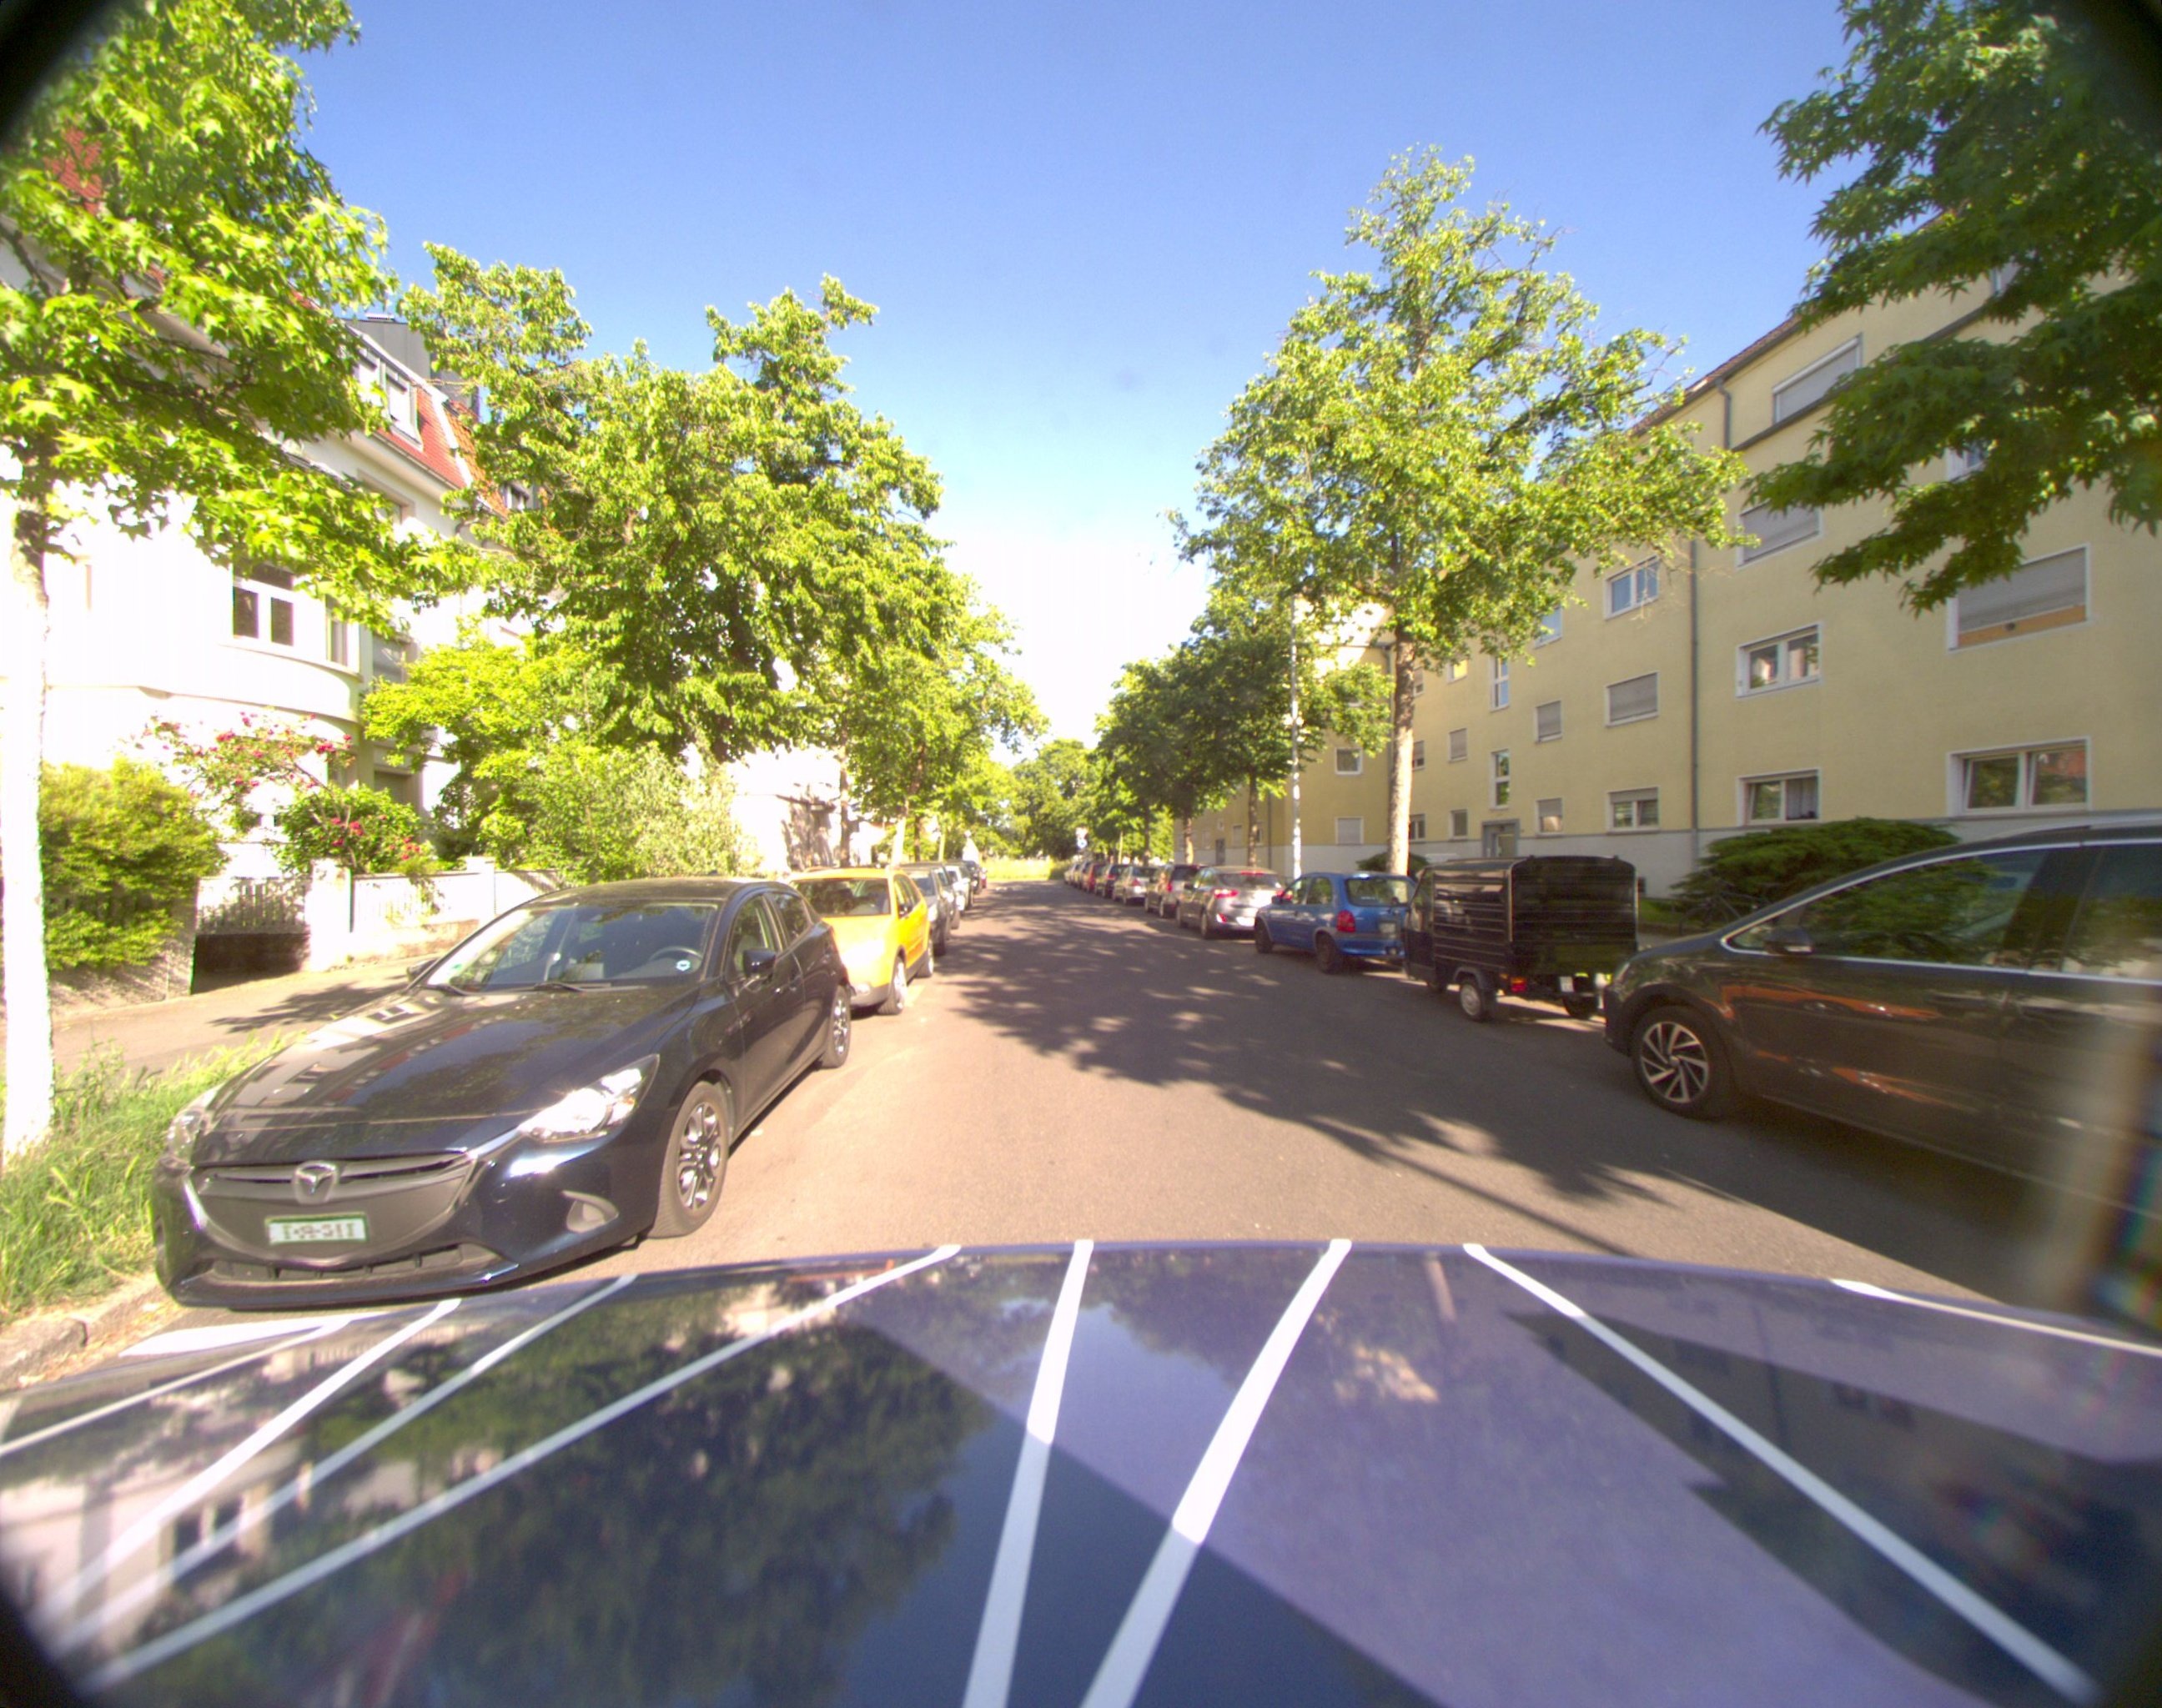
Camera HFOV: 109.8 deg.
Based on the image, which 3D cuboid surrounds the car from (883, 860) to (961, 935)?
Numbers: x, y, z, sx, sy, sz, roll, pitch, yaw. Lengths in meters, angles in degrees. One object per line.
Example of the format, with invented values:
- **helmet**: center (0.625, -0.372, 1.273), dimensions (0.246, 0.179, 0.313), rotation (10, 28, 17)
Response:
- **car**: center (-3.874, 0.991, 18.984), dimensions (1.654, 1.646, 3.844), rotation (-1, 0, -9)

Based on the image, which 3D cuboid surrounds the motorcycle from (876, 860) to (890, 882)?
- **motorcycle**: center (-12.606, 1.055, 48.352), dimensions (0.541, 1.353, 2.088), rotation (-1, 0, -6)

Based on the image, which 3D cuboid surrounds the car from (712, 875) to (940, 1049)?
- **car**: center (-2.657, 1.018, 8.877), dimensions (1.641, 1.446, 4.097), rotation (0, 0, -6)

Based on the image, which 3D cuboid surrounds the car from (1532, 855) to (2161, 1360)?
- **car**: center (4.470, 0.874, 3.130), dimensions (1.855, 1.670, 4.974), rotation (2, 0, -6)

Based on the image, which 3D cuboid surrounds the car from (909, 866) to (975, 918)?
- **car**: center (-4.217, 1.104, 23.614), dimensions (1.634, 1.416, 4.366), rotation (0, 0, -5)

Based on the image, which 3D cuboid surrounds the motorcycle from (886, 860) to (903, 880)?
- **motorcycle**: center (-12.888, 1.099, 52.574), dimensions (0.974, 1.321, 1.851), rotation (-1, 0, -11)

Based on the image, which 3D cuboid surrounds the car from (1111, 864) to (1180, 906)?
- **car**: center (2.283, 1.076, 28.077), dimensions (1.751, 1.360, 4.672), rotation (0, 0, -5)

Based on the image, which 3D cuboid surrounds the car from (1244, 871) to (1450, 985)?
- **car**: center (3.880, 1.003, 11.766), dimensions (1.525, 1.387, 3.724), rotation (0, 0, -7)

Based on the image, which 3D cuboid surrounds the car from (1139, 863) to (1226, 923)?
- **car**: center (2.842, 1.054, 22.169), dimensions (1.625, 1.506, 4.267), rotation (2, 0, -5)

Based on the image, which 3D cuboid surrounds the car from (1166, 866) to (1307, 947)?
- **car**: center (3.181, 1.028, 16.563), dimensions (1.797, 1.436, 4.686), rotation (1, 0, -4)

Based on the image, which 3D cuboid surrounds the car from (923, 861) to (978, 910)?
- **car**: center (-4.763, 1.091, 28.176), dimensions (1.689, 1.578, 4.533), rotation (-3, 0, -7)

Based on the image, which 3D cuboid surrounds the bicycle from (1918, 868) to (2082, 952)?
- **bicycle**: center (13.197, 0.790, 10.925), dimensions (1.844, 1.075, 0.486), rotation (-3, 2, -2)

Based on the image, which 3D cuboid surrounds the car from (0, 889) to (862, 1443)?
- **car**: center (-2.524, 1.001, 4.306), dimensions (1.705, 1.440, 4.080), rotation (0, 0, -5)

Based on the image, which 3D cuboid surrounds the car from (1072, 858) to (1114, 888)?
- **car**: center (0.623, 1.024, 42.939), dimensions (1.697, 1.555, 4.732), rotation (0, 0, -7)

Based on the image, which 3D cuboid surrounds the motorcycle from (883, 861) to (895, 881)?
- **motorcycle**: center (-12.793, 1.109, 50.705), dimensions (0.659, 1.272, 1.798), rotation (1, 0, -12)

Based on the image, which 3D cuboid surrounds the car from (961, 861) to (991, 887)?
- **car**: center (-6.206, 1.134, 44.467), dimensions (1.616, 1.401, 4.348), rotation (0, 0, -9)

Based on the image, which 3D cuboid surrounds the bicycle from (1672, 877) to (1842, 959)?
- **bicycle**: center (10.087, 0.914, 11.415), dimensions (0.487, 1.075, 1.841), rotation (-3, 2, -29)

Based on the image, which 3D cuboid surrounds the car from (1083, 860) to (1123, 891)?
- **car**: center (1.075, 1.048, 38.380), dimensions (1.670, 1.477, 3.254), rotation (0, 0, -5)

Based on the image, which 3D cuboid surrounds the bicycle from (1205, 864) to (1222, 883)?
- **bicycle**: center (7.376, 1.074, 42.278), dimensions (0.542, 1.021, 1.747), rotation (0, 0, -4)

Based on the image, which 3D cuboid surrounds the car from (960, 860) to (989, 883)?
- **car**: center (-6.866, 1.130, 49.260), dimensions (1.658, 1.394, 4.133), rotation (0, 0, -6)

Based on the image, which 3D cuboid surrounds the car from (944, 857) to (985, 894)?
- **car**: center (-5.675, 1.001, 37.387), dimensions (1.786, 1.688, 4.295), rotation (0, 0, -6)

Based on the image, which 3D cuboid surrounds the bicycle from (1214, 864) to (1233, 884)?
- **bicycle**: center (7.567, 1.055, 40.355), dimensions (0.537, 1.021, 1.747), rotation (0, 0, -4)

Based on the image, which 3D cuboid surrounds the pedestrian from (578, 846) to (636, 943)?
- **pedestrian**: center (-8.856, 0.733, 14.214), dimensions (0.624, 1.764, 0.799), rotation (0, 0, -6)

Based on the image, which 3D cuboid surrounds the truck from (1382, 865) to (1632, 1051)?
- **truck**: center (4.150, 0.905, 7.749), dimensions (1.087, 1.568, 2.431), rotation (0, 0, -3)

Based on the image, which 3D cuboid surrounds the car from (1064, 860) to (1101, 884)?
- **car**: center (0.050, 1.130, 49.331), dimensions (1.766, 1.433, 3.991), rotation (0, 0, -9)

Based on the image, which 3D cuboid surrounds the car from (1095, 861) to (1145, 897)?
- **car**: center (1.668, 1.059, 33.518), dimensions (1.670, 1.450, 3.931), rotation (0, 0, -5)

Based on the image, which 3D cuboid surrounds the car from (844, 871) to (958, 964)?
- **car**: center (-3.155, 1.047, 13.912), dimensions (1.654, 1.420, 3.610), rotation (0, 0, -7)
